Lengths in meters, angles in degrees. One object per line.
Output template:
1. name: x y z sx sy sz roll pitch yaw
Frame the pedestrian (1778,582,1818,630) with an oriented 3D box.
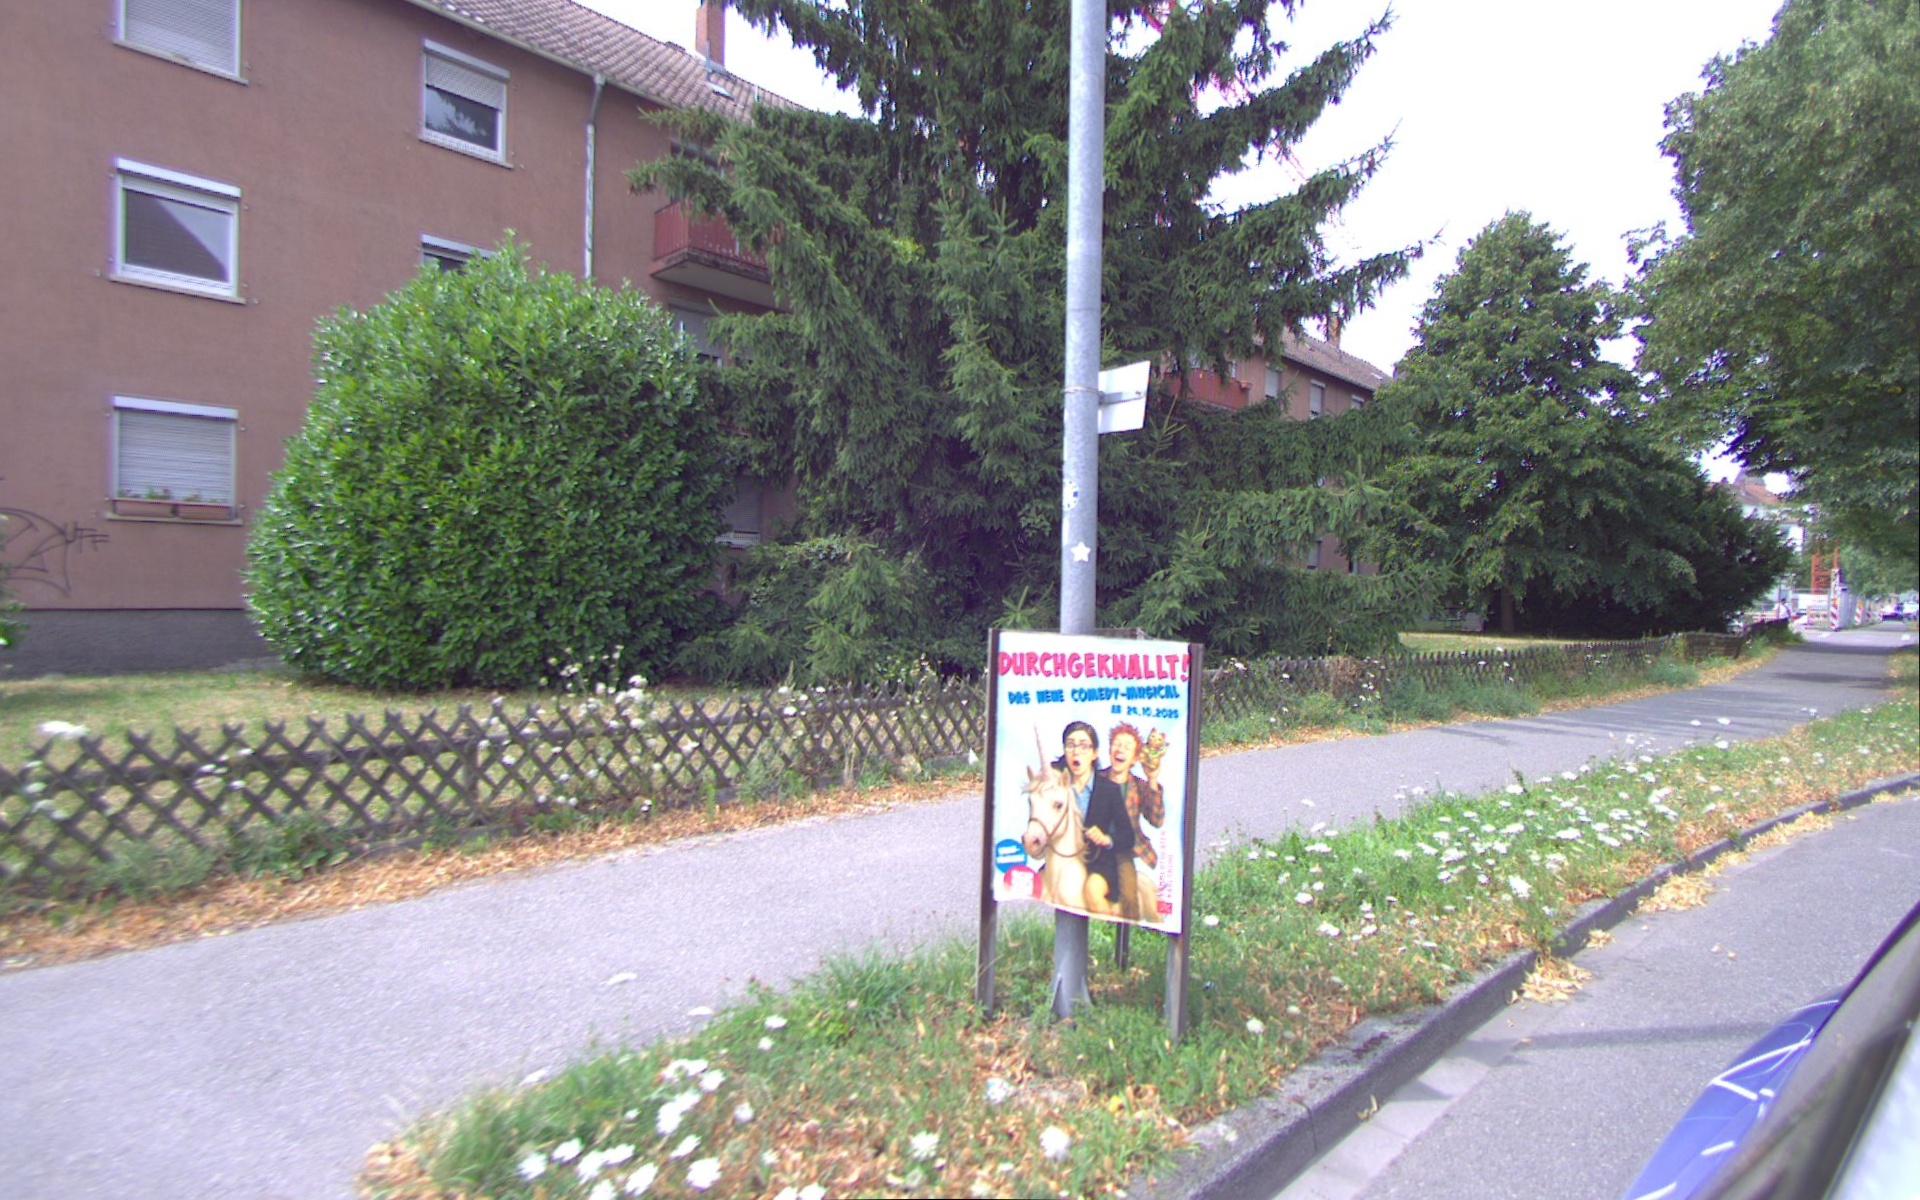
1. pedestrian: 33.518 0.244 40.472 0.870 1.836 0.887 2 1 -27
